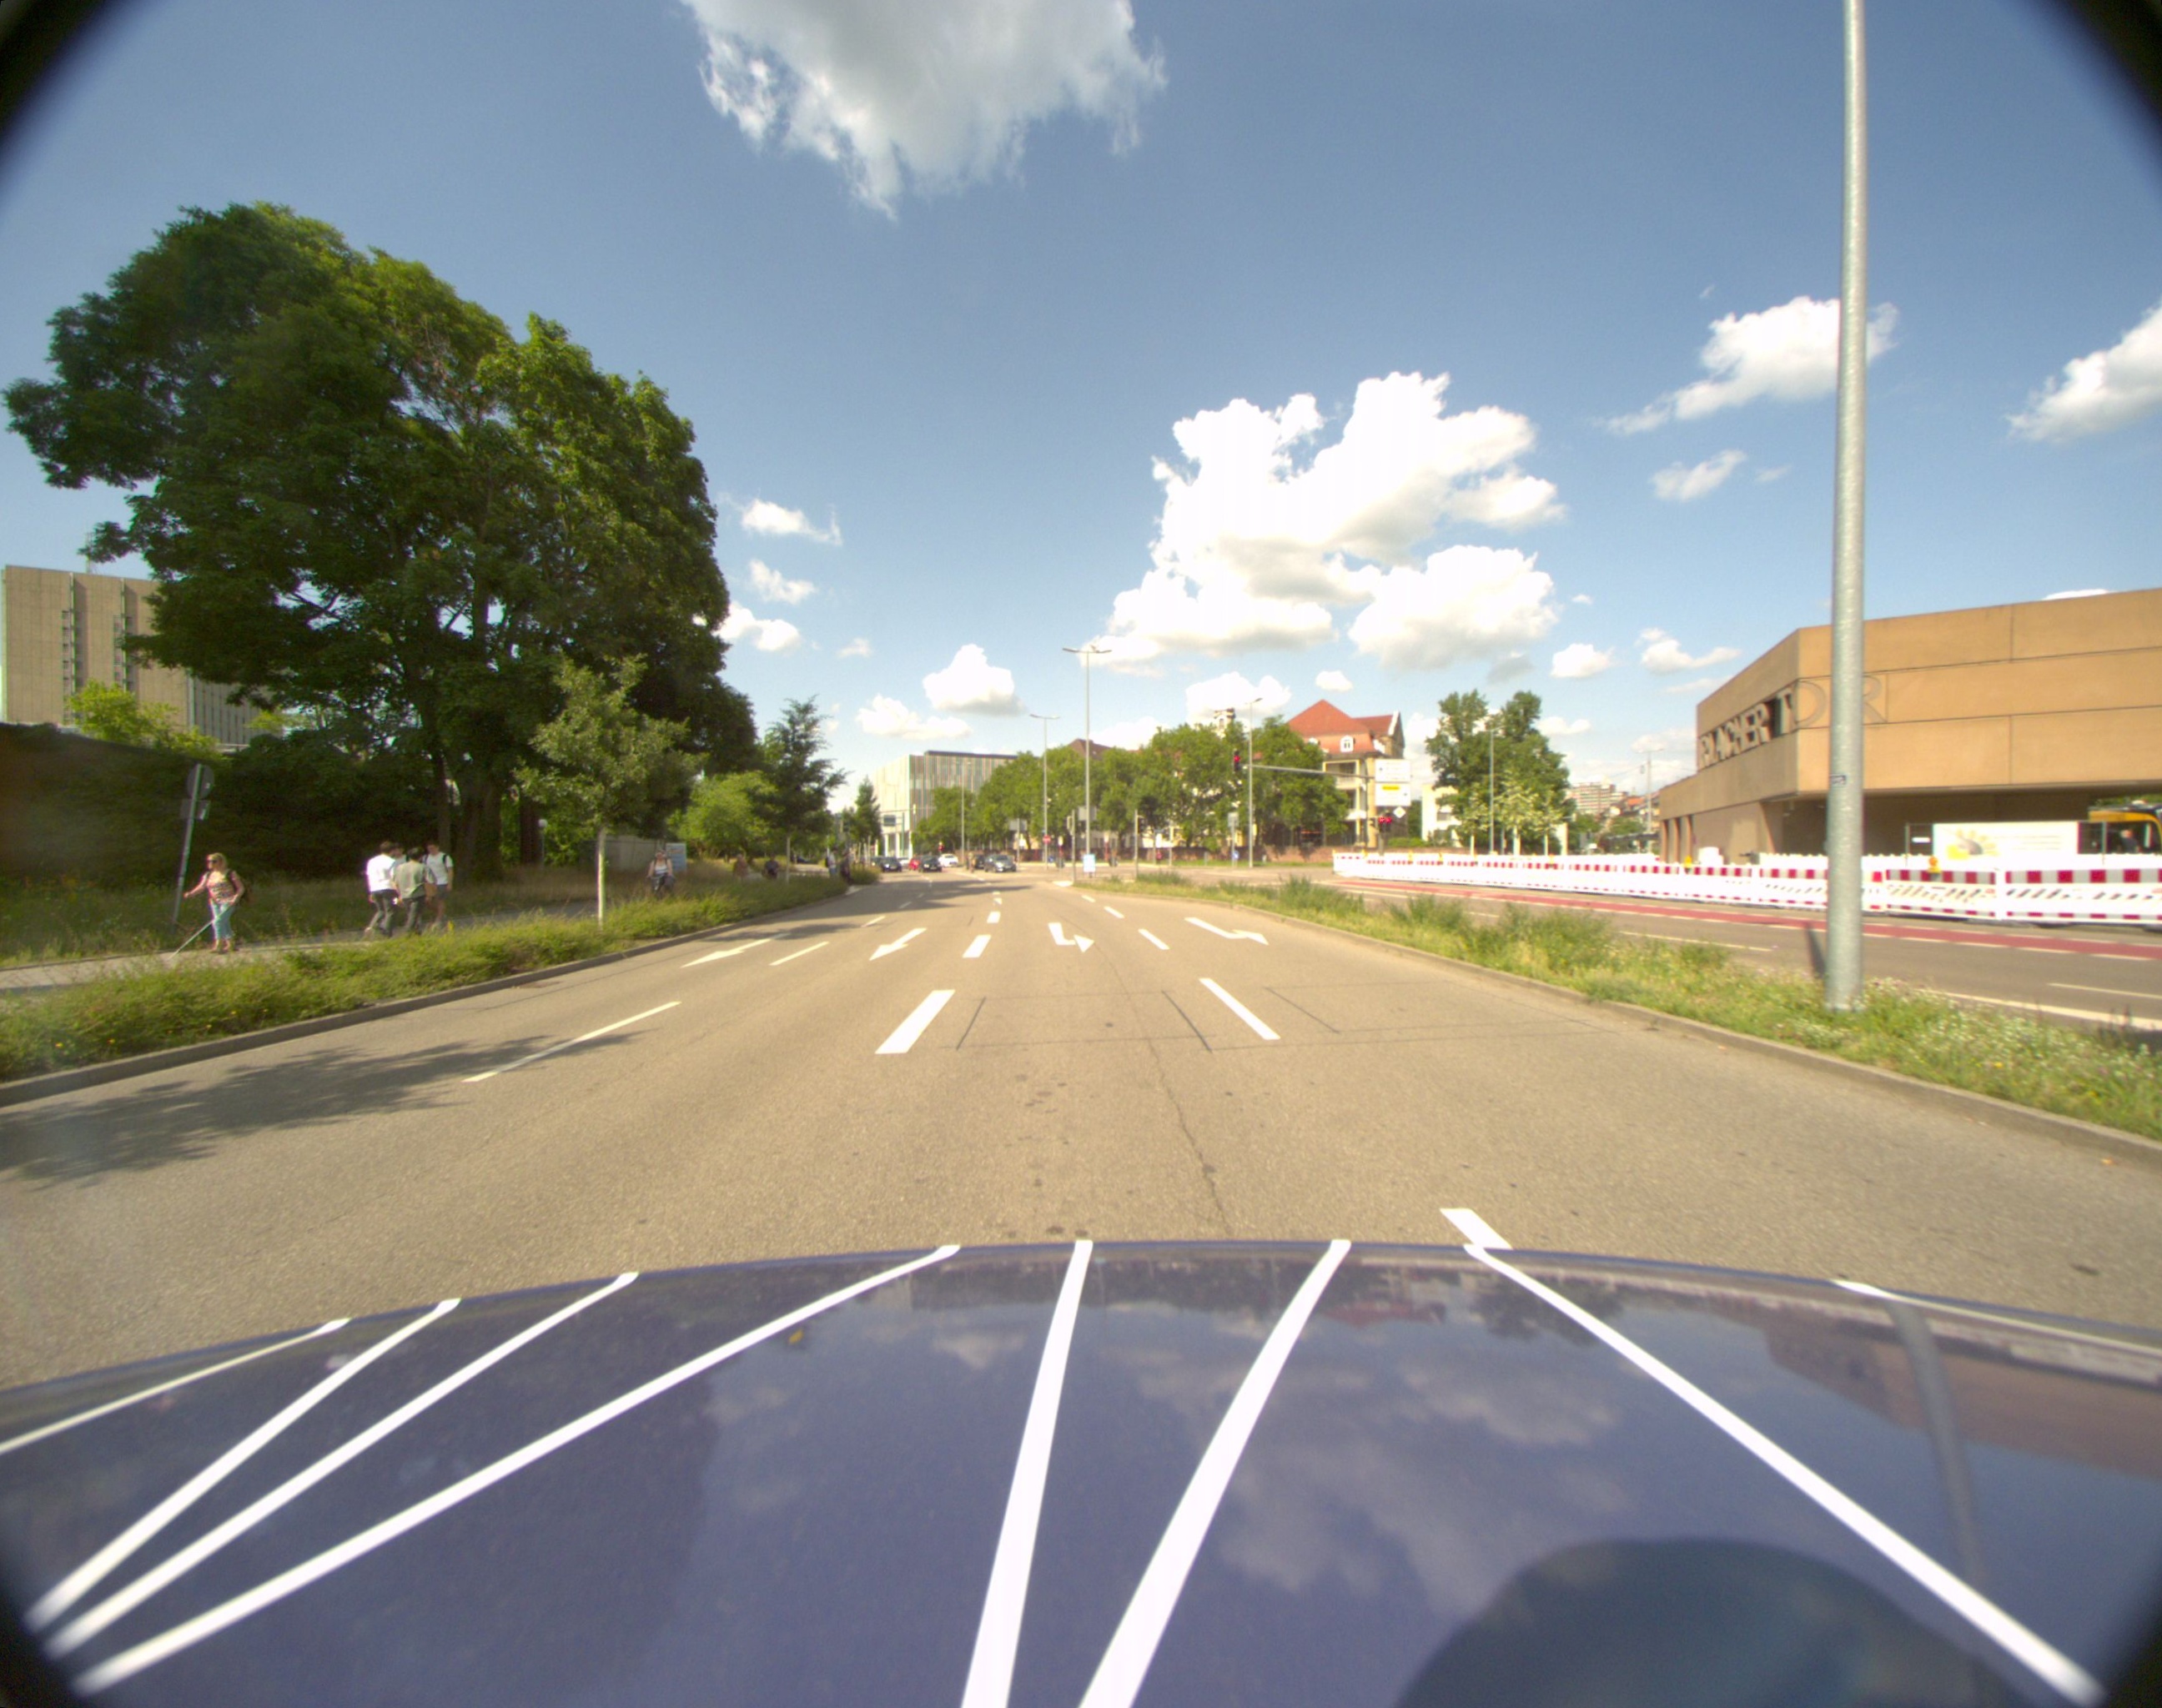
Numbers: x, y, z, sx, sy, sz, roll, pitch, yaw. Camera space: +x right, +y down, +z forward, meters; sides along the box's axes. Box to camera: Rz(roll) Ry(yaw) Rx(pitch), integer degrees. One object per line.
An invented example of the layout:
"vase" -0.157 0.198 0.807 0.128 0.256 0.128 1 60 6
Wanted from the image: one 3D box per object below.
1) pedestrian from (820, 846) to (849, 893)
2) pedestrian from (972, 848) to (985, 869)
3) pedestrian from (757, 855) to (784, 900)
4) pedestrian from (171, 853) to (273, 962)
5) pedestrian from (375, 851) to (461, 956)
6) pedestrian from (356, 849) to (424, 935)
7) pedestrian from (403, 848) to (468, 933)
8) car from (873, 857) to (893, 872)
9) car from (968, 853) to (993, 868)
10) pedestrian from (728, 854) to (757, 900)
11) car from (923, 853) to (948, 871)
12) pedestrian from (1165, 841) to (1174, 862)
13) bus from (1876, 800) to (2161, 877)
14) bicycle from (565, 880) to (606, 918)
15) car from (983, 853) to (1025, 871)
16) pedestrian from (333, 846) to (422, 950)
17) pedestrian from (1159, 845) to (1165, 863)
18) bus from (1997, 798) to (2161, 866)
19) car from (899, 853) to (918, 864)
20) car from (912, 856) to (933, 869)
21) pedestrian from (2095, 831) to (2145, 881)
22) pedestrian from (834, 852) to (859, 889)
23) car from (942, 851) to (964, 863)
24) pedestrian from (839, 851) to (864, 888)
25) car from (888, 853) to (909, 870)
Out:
"pedestrian" -10.816 0.661 33.411 0.965 2.002 0.768 -2 2 -4
"pedestrian" -8.406 0.392 62.258 0.739 1.704 0.874 -3 2 -24
"pedestrian" -12.229 0.907 29.926 0.768 1.725 0.718 -2 2 -10
"pedestrian" -13.381 0.812 11.866 0.616 1.613 0.889 2 1 -7
"pedestrian" -11.540 0.843 13.252 0.744 1.744 0.889 2 1 -8
"pedestrian" -14.100 0.750 15.524 0.616 1.690 0.889 2 1 -7
"pedestrian" -13.383 0.745 15.779 0.616 1.690 0.889 2 1 -7
"car" -20.642 1.124 79.349 1.827 1.454 3.995 -1 1 -13
"car" -9.531 0.575 71.993 1.735 1.327 3.783 -2 1 -16
"pedestrian" -13.038 0.879 29.295 0.768 1.725 0.718 -2 2 -10
"car" -12.930 0.679 67.366 1.828 1.454 3.994 -1 1 -17
"pedestrian" 8.314 -0.209 71.436 0.582 1.982 0.621 -3 2 -29
"bus" 50.732 -0.748 41.182 3.467 3.165 23.822 0 1 29
"bicycle" -13.200 1.173 20.291 0.650 0.876 1.818 -1 1 -25
"car" -6.324 0.614 62.243 2.003 1.368 4.260 -2 1 -27
"pedestrian" -12.283 0.746 13.295 0.744 1.736 0.889 2 1 -7
"pedestrian" 7.806 -0.023 72.973 0.368 1.722 0.451 -1 2 38
"bus" 63.120 -1.259 46.120 3.599 3.611 18.907 0 1 31
"car" -19.358 0.489 85.088 1.911 1.127 4.097 -1 1 -14
"car" -15.744 0.825 75.323 1.599 1.127 3.623 -1 1 -18
"pedestrian" 34.610 0.065 25.322 0.653 1.622 0.765 -1 1 -13
"pedestrian" -11.104 0.766 35.987 0.928 1.725 0.768 -2 2 -4
"car" -14.547 0.331 86.040 1.781 1.346 3.993 -2 1 -19
"pedestrian" -11.117 0.743 36.764 0.928 1.725 0.768 -2 2 -4
"car" -16.952 0.652 70.439 1.828 1.454 3.995 -1 1 -14
